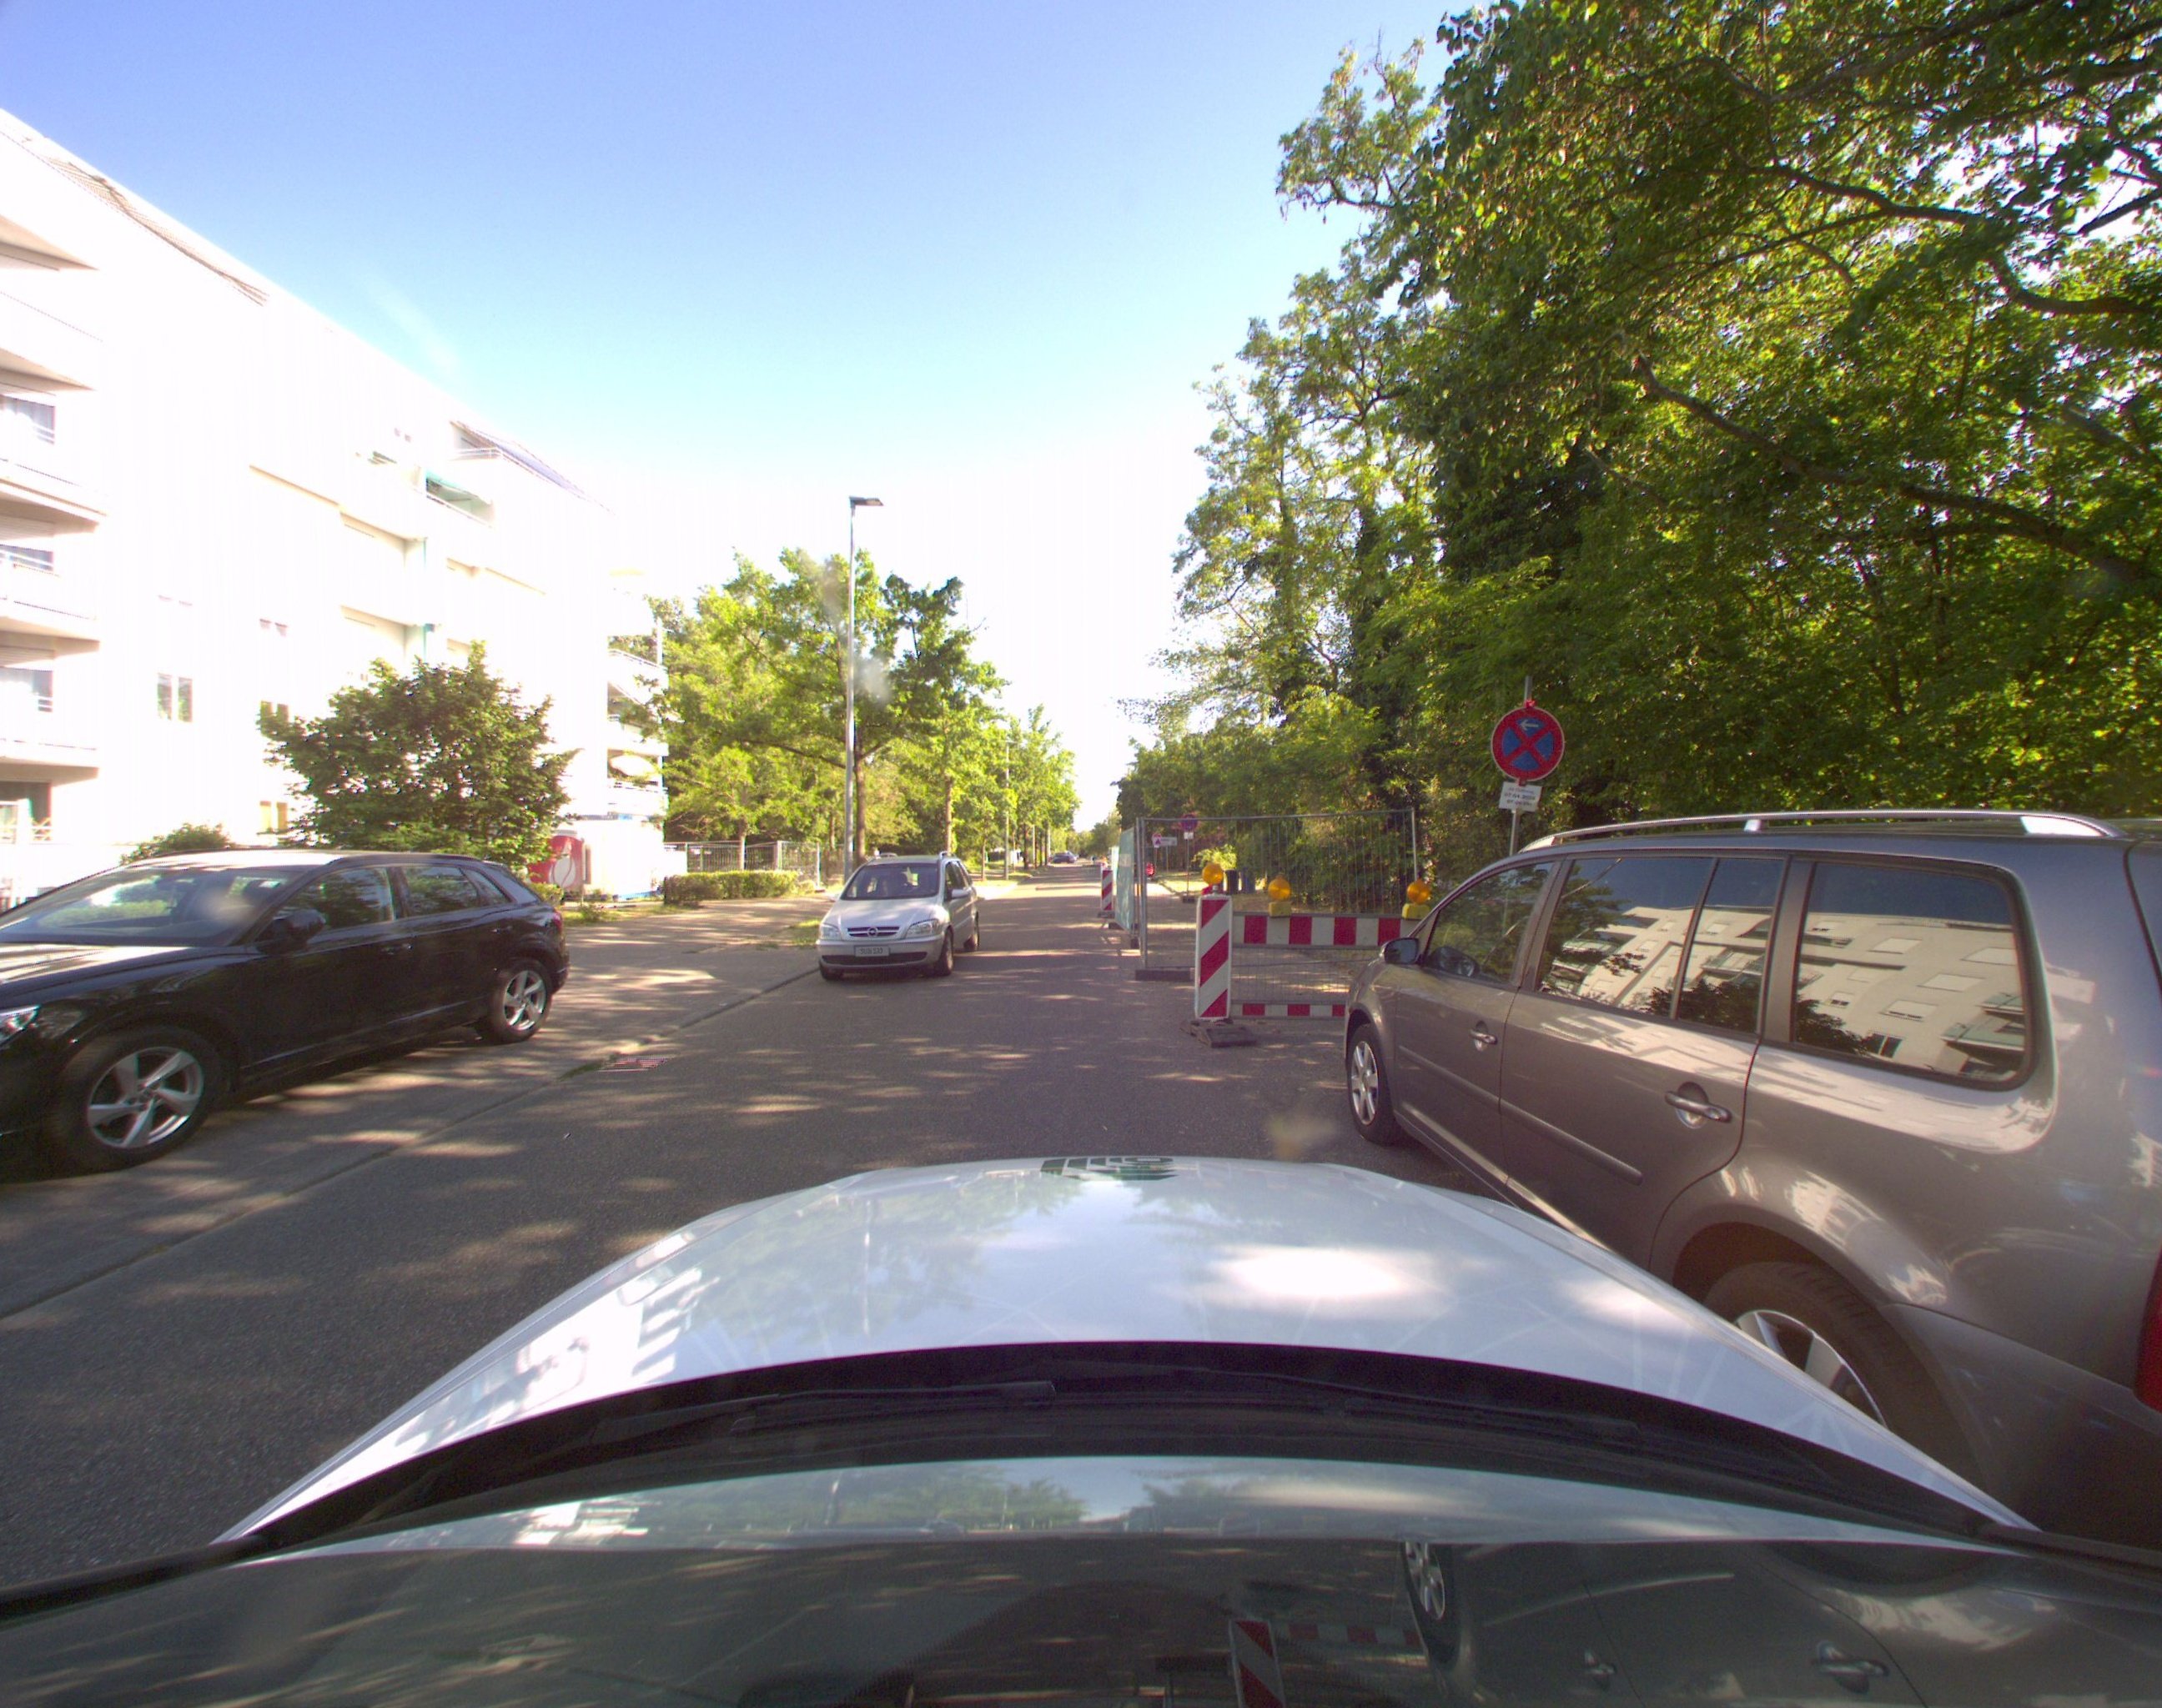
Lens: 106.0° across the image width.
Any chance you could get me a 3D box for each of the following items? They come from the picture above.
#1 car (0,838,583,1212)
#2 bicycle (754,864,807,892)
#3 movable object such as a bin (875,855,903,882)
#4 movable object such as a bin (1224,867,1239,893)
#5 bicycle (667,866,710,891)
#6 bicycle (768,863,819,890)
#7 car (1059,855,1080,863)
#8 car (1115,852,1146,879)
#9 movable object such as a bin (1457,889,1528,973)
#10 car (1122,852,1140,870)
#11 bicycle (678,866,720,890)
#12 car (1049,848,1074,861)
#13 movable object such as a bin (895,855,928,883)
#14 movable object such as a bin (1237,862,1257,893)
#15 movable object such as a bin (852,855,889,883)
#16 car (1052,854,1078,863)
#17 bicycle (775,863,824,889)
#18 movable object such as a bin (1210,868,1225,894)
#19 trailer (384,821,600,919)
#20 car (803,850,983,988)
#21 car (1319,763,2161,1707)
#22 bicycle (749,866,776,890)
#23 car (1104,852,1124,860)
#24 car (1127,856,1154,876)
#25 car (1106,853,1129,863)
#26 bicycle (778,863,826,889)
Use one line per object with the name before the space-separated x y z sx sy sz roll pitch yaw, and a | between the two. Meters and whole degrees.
car | -5.556 0.734 5.433 1.769 1.621 4.221 1 0 1
bicycle | -11.569 0.908 31.390 1.870 1.027 0.399 -1 -1 -12
movable object such as a bin | -10.602 0.780 44.970 1.149 1.435 1.260 -1 0 -33
movable object such as a bin | 5.111 0.886 27.631 0.411 0.870 0.484 -2 -1 1
bicycle | -16.429 1.018 34.097 1.686 1.027 0.401 -1 -1 6
bicycle | -11.415 0.893 32.331 1.856 1.027 0.399 -1 -1 -12
car | -2.399 0.982 164.330 4.090 1.576 1.960 1 0 3
car | 3.196 0.700 51.610 1.801 1.651 4.427 1 0 5
movable object such as a bin | 4.497 0.826 8.927 0.482 0.861 0.559 0 0 -2
car | 5.055 0.670 82.838 1.617 1.773 3.670 1 0 1
bicycle | -16.307 1.019 34.772 1.686 1.027 0.401 -1 -1 6
car | -4.161 0.068 173.300 5.189 2.621 2.290 1 0 -4
movable object such as a bin | -9.020 0.807 43.269 1.259 1.435 1.187 -1 0 17
movable object such as a bin | 5.625 0.798 27.587 0.517 0.999 0.608 -2 -1 1
movable object such as a bin | -10.868 0.766 42.119 1.257 1.435 1.334 -1 0 29
car | -2.920 0.851 148.027 4.294 1.576 2.050 1 0 7
bicycle | -11.479 0.906 33.276 1.860 1.027 0.399 -1 -1 -12
movable object such as a bin | 4.619 0.907 27.510 0.411 0.870 0.484 -2 -1 1
trailer | -14.239 0.353 20.068 1.855 2.120 4.351 1 0 5
car | -2.547 0.802 11.994 1.654 1.596 4.007 -3 0 0
car | 2.321 0.689 3.048 1.673 1.621 4.137 0 0 0
bicycle | -13.719 1.014 35.154 0.397 1.027 1.702 -1 -1 3
car | 6.831 0.511 168.853 3.817 1.576 1.692 1 0 7
car | 4.248 0.847 58.270 1.655 1.375 4.155 1 0 1
car | 6.424 0.726 143.415 3.817 1.576 1.692 1 0 7
bicycle | -11.544 0.907 33.699 1.839 1.027 0.399 -1 -1 -12
